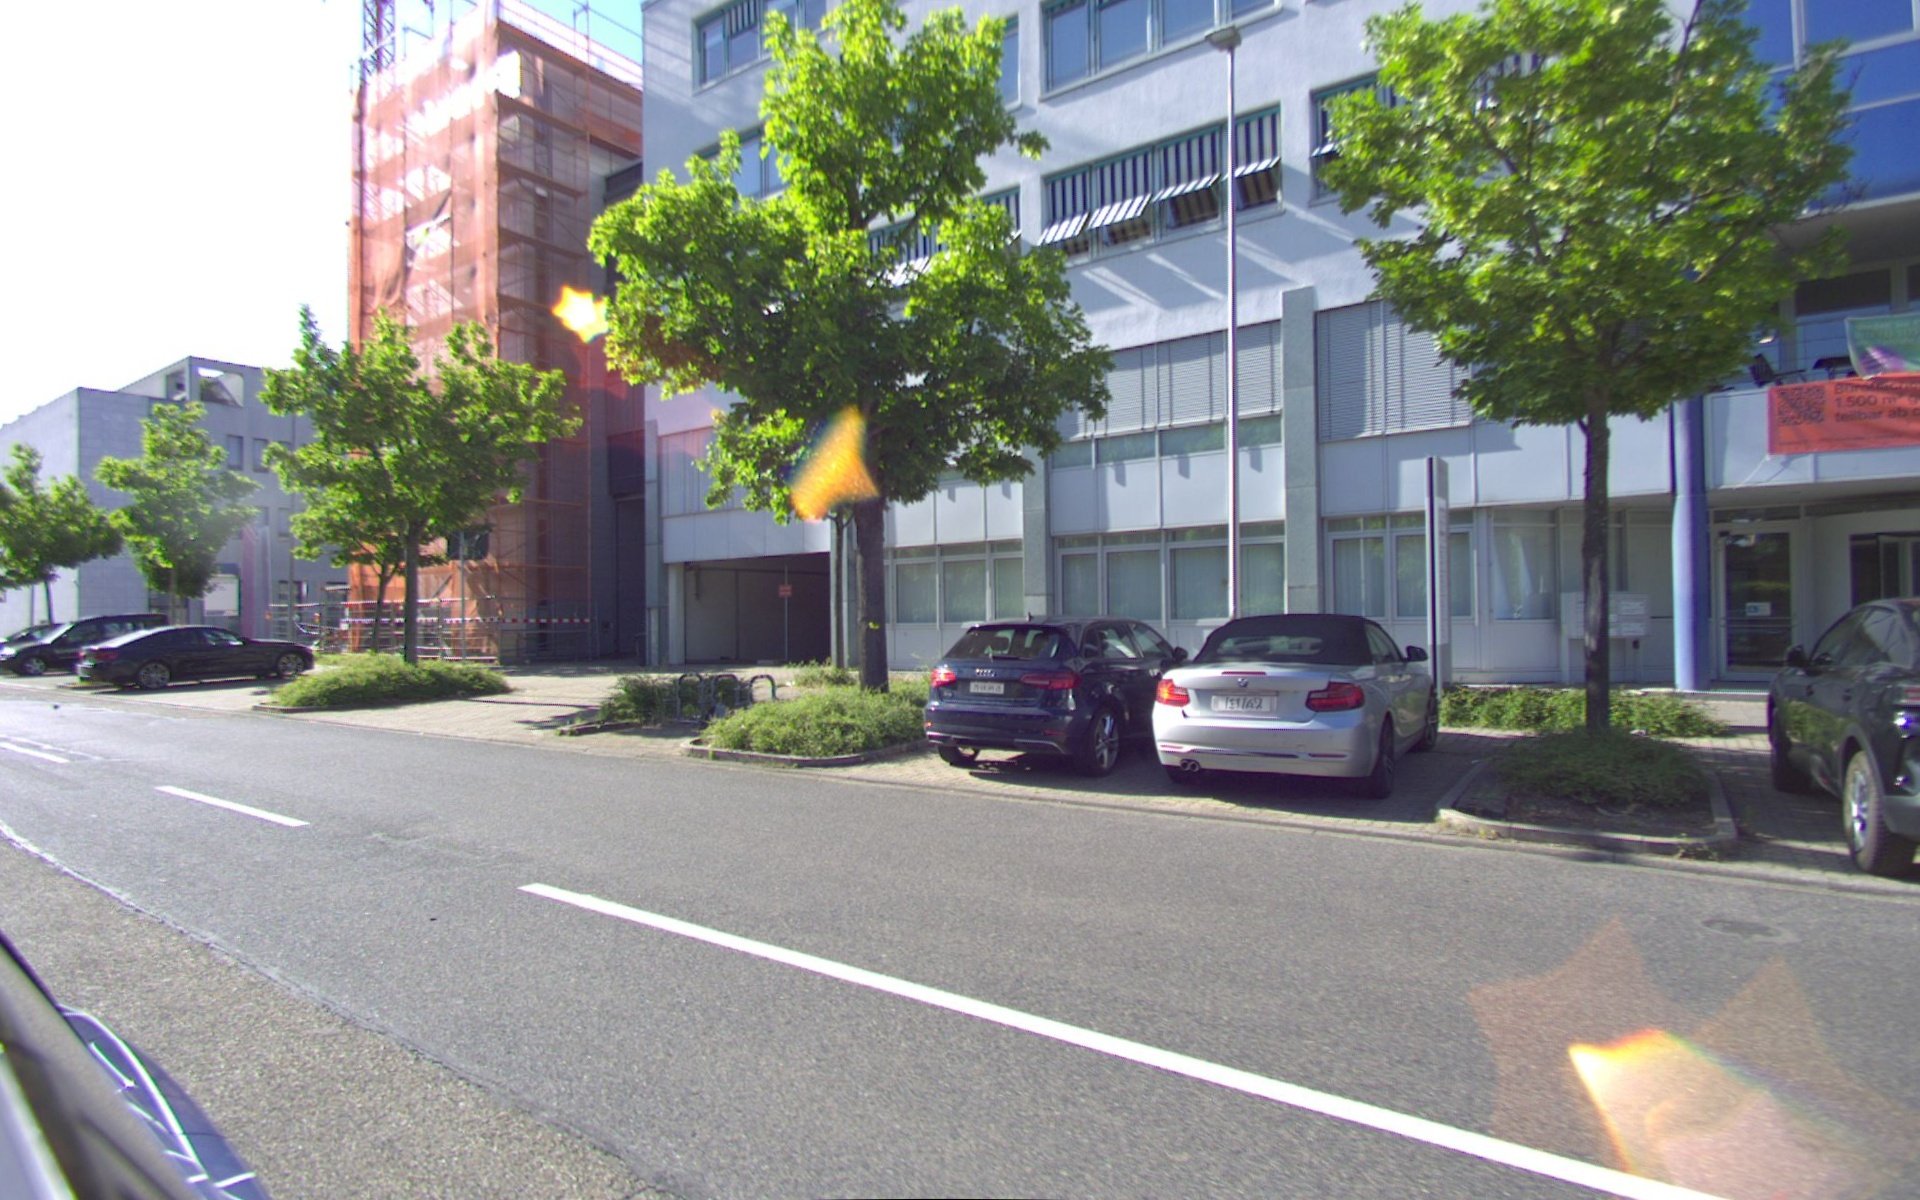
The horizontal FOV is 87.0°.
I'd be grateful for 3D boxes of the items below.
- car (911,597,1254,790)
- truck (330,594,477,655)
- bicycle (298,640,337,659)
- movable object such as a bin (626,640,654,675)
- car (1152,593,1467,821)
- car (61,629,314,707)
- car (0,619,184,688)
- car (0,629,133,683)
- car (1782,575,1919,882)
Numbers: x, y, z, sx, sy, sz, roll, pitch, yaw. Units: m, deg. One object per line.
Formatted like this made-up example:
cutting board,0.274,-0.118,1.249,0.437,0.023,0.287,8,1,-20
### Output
car,1.489,0.777,10.485,1.689,1.442,4.349,-2,0,34
truck,-26.602,1.192,48.572,2.265,2.752,5.787,-3,-3,37
bicycle,-44.376,3.417,69.934,0.715,1.219,2.239,-2,-3,30
movable object such as a bin,-8.910,1.594,28.150,0.610,0.934,0.482,-2,-3,39
car,3.379,0.739,9.169,1.688,1.442,4.351,-2,0,33
car,-18.181,1.532,24.036,1.971,1.442,4.352,-2,0,32
car,-26.959,1.588,31.270,1.844,1.758,4.345,-2,0,37
car,-30.623,1.861,33.820,1.690,1.525,4.346,-2,1,36
car,6.541,0.583,6.295,1.688,1.442,4.351,-2,0,33
